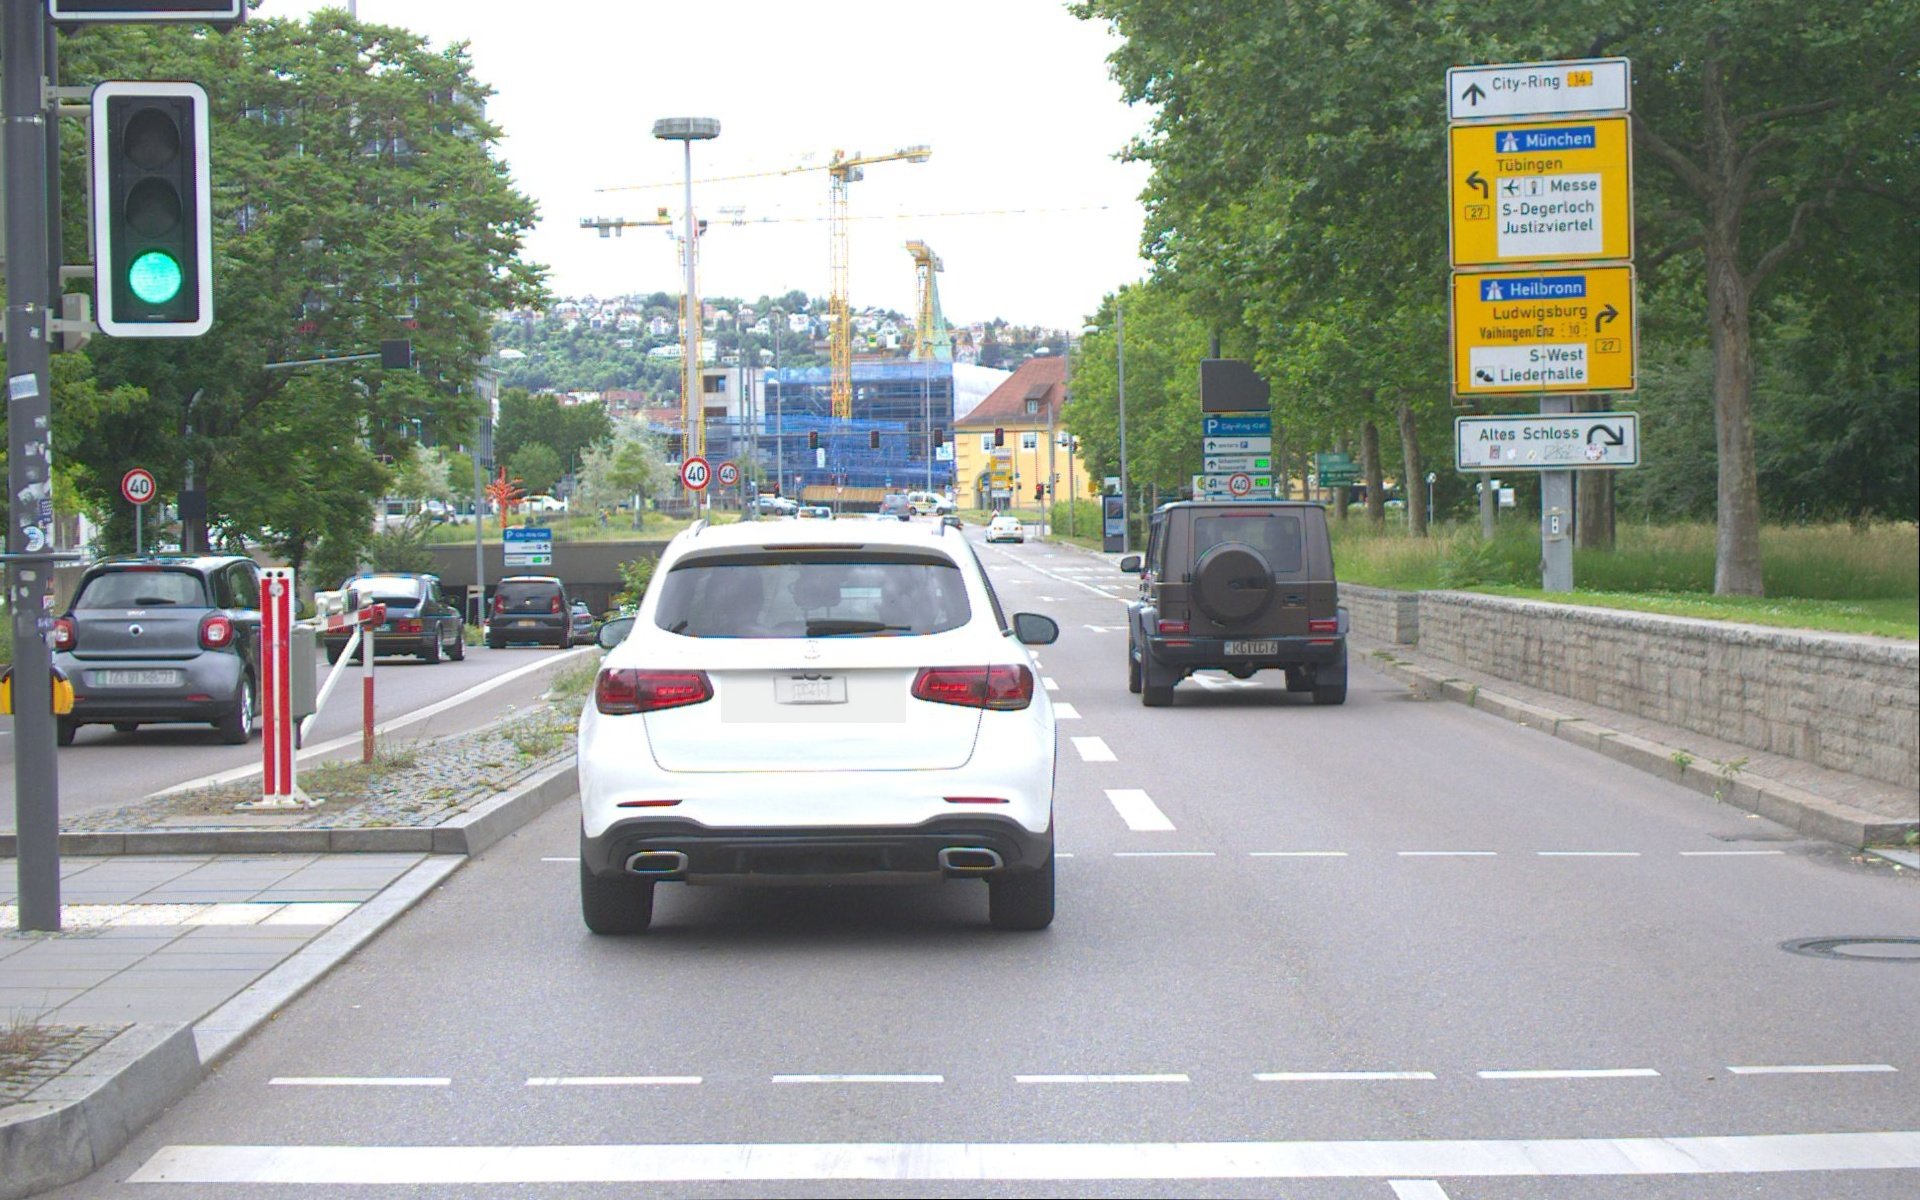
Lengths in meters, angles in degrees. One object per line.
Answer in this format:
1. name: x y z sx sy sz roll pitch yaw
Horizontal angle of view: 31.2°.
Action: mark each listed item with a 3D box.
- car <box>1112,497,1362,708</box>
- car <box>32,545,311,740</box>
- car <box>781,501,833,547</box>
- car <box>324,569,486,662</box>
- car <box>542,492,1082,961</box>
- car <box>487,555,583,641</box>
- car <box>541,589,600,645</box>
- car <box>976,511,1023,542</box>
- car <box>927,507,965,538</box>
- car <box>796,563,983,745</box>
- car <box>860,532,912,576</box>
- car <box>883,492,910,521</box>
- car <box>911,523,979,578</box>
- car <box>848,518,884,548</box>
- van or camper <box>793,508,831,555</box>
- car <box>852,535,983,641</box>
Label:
1. car: 2.658 0.015 34.058 1.977 1.887 4.707 1 0 -1
2. car: -6.486 0.323 28.592 1.627 1.504 3.540 1 0 -2
3. car: -6.245 -3.099 140.788 1.993 1.751 4.000 1 0 -1
4. car: -8.445 0.210 52.622 1.719 1.288 4.000 2 1 1
5. car: -0.645 0.461 14.645 1.940 1.678 4.000 1 0 -3
6. car: -8.762 -0.060 71.137 1.719 1.673 4.001 1 1 -4
7. car: -12.011 0.506 106.177 1.719 1.579 4.001 1 1 -6
8. car: 2.148 -4.007 188.355 1.993 1.612 4.001 1 0 -7
9. car: -0.743 -4.120 182.651 1.719 1.579 4.001 1 1 -4
10. car: -0.701 0.501 33.450 1.672 1.622 4.000 1 0 -2
11. car: -3.105 -1.915 143.625 1.993 1.774 4.000 1 0 -3
12. car: -4.682 -6.900 253.264 1.800 2.007 4.000 1 0 -3
13. car: -0.499 -1.581 110.483 1.993 1.656 4.000 1 0 -3
14. car: -5.111 -3.650 186.657 1.719 1.579 4.001 1 1 -4
15. van or camper: -7.760 -3.593 180.192 1.922 2.312 4.000 0 -1 -3
16. car: -0.704 -0.220 54.420 1.922 1.596 4.001 0 1 -3
